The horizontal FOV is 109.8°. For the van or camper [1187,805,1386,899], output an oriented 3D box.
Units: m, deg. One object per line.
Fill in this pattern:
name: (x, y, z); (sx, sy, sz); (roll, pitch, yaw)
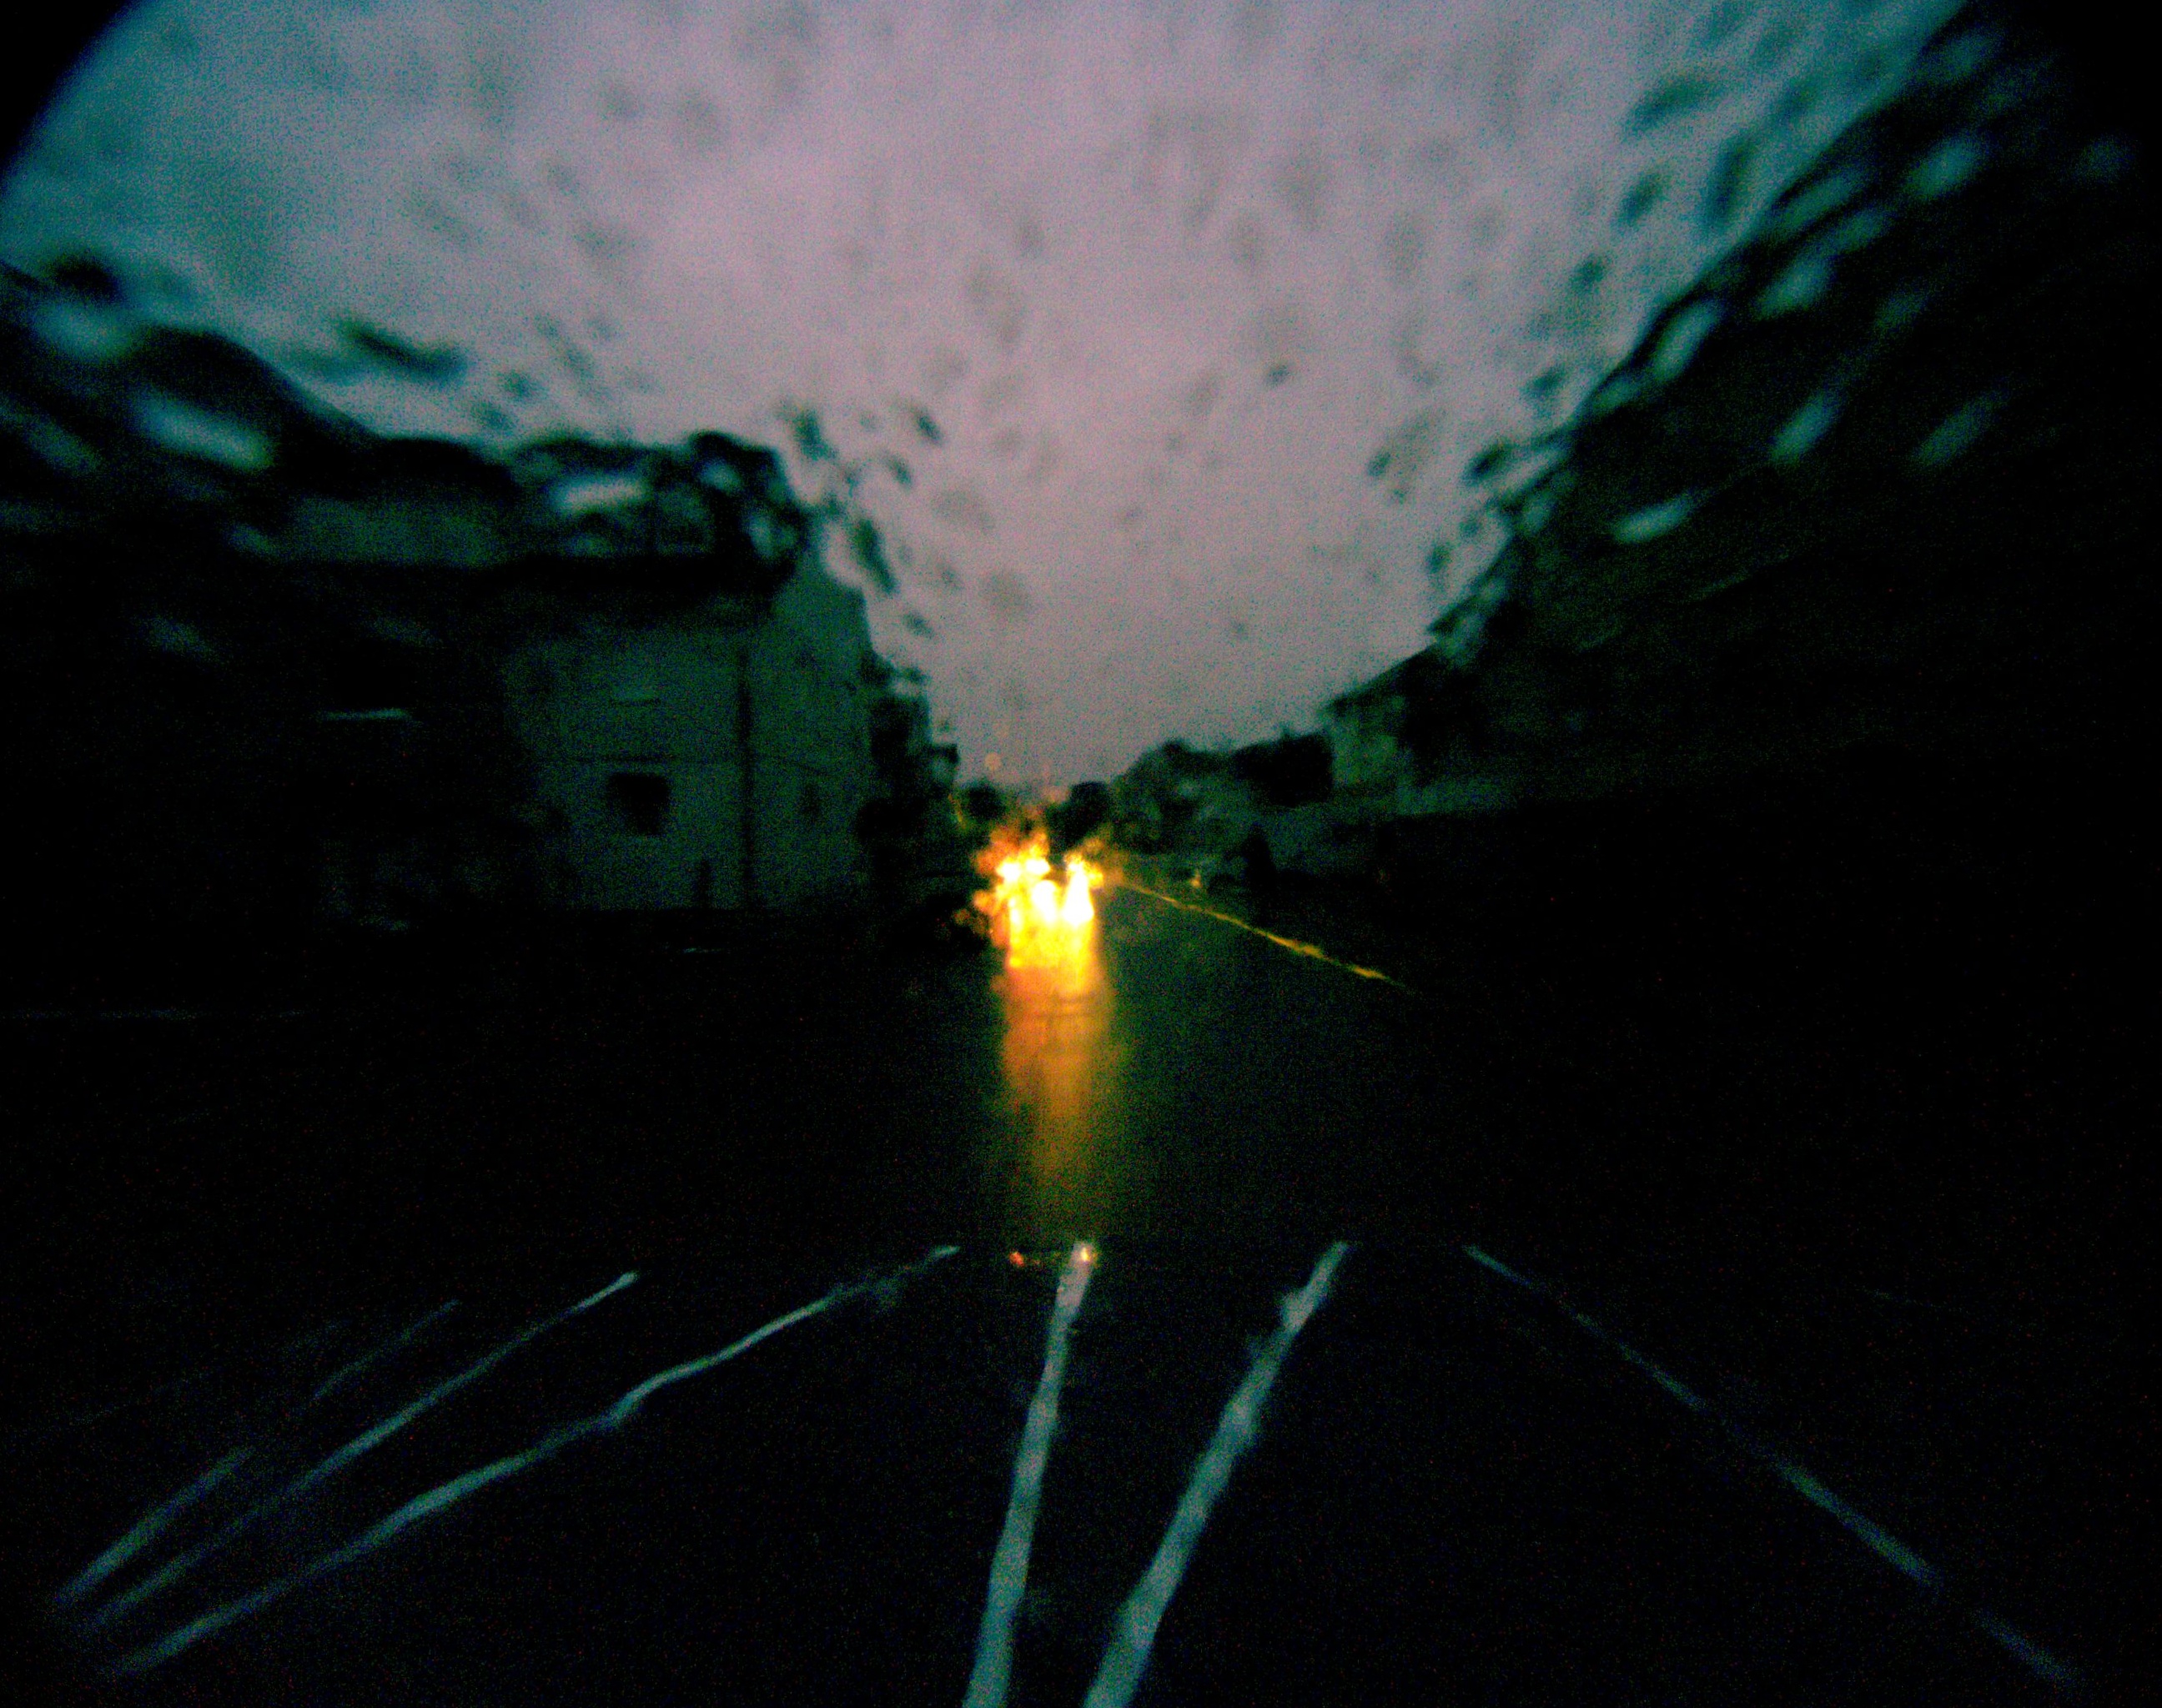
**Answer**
van or camper: (6.816, -0.071, 25.727); (6.073, 2.925, 2.323); (1, 1, 0)

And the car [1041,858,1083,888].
car: (-1.163, 1.029, 43.872); (1.992, 1.549, 4.233); (-2, 0, -7)

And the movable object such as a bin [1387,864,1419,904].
movable object such as a bin: (8.559, 0.799, 20.237); (0.617, 1.015, 0.581); (-2, 1, 5)

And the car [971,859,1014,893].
car: (-3.986, 0.963, 34.779); (1.740, 1.398, 4.302); (-2, 0, -4)

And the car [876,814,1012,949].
car: (-2.808, 0.508, 17.041); (2.014, 2.440, 5.614); (-2, 0, -1)

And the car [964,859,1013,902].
car: (-3.530, 0.961, 29.500); (1.648, 1.469, 4.369); (-2, 0, -4)

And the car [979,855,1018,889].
car: (-4.223, 0.872, 39.244); (1.815, 1.530, 4.301); (-2, 1, -4)

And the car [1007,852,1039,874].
car: (-4.406, 0.643, 57.075); (1.992, 1.549, 4.232); (-2, 0, -9)

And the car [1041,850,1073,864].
car: (-3.176, 0.382, 100.681); (3.995, 1.652, 1.756); (-2, 1, 7)

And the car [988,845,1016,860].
car: (-10.670, -0.199, 102.742); (1.855, 1.873, 4.874); (-2, 1, -30)

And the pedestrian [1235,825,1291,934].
pedestrian: (3.465, 0.474, 14.559); (0.785, 2.002, 0.869); (-3, 1, 1)

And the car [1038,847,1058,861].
car: (-4.111, -0.027, 93.968); (1.756, 1.652, 3.995); (-2, 0, -13)
